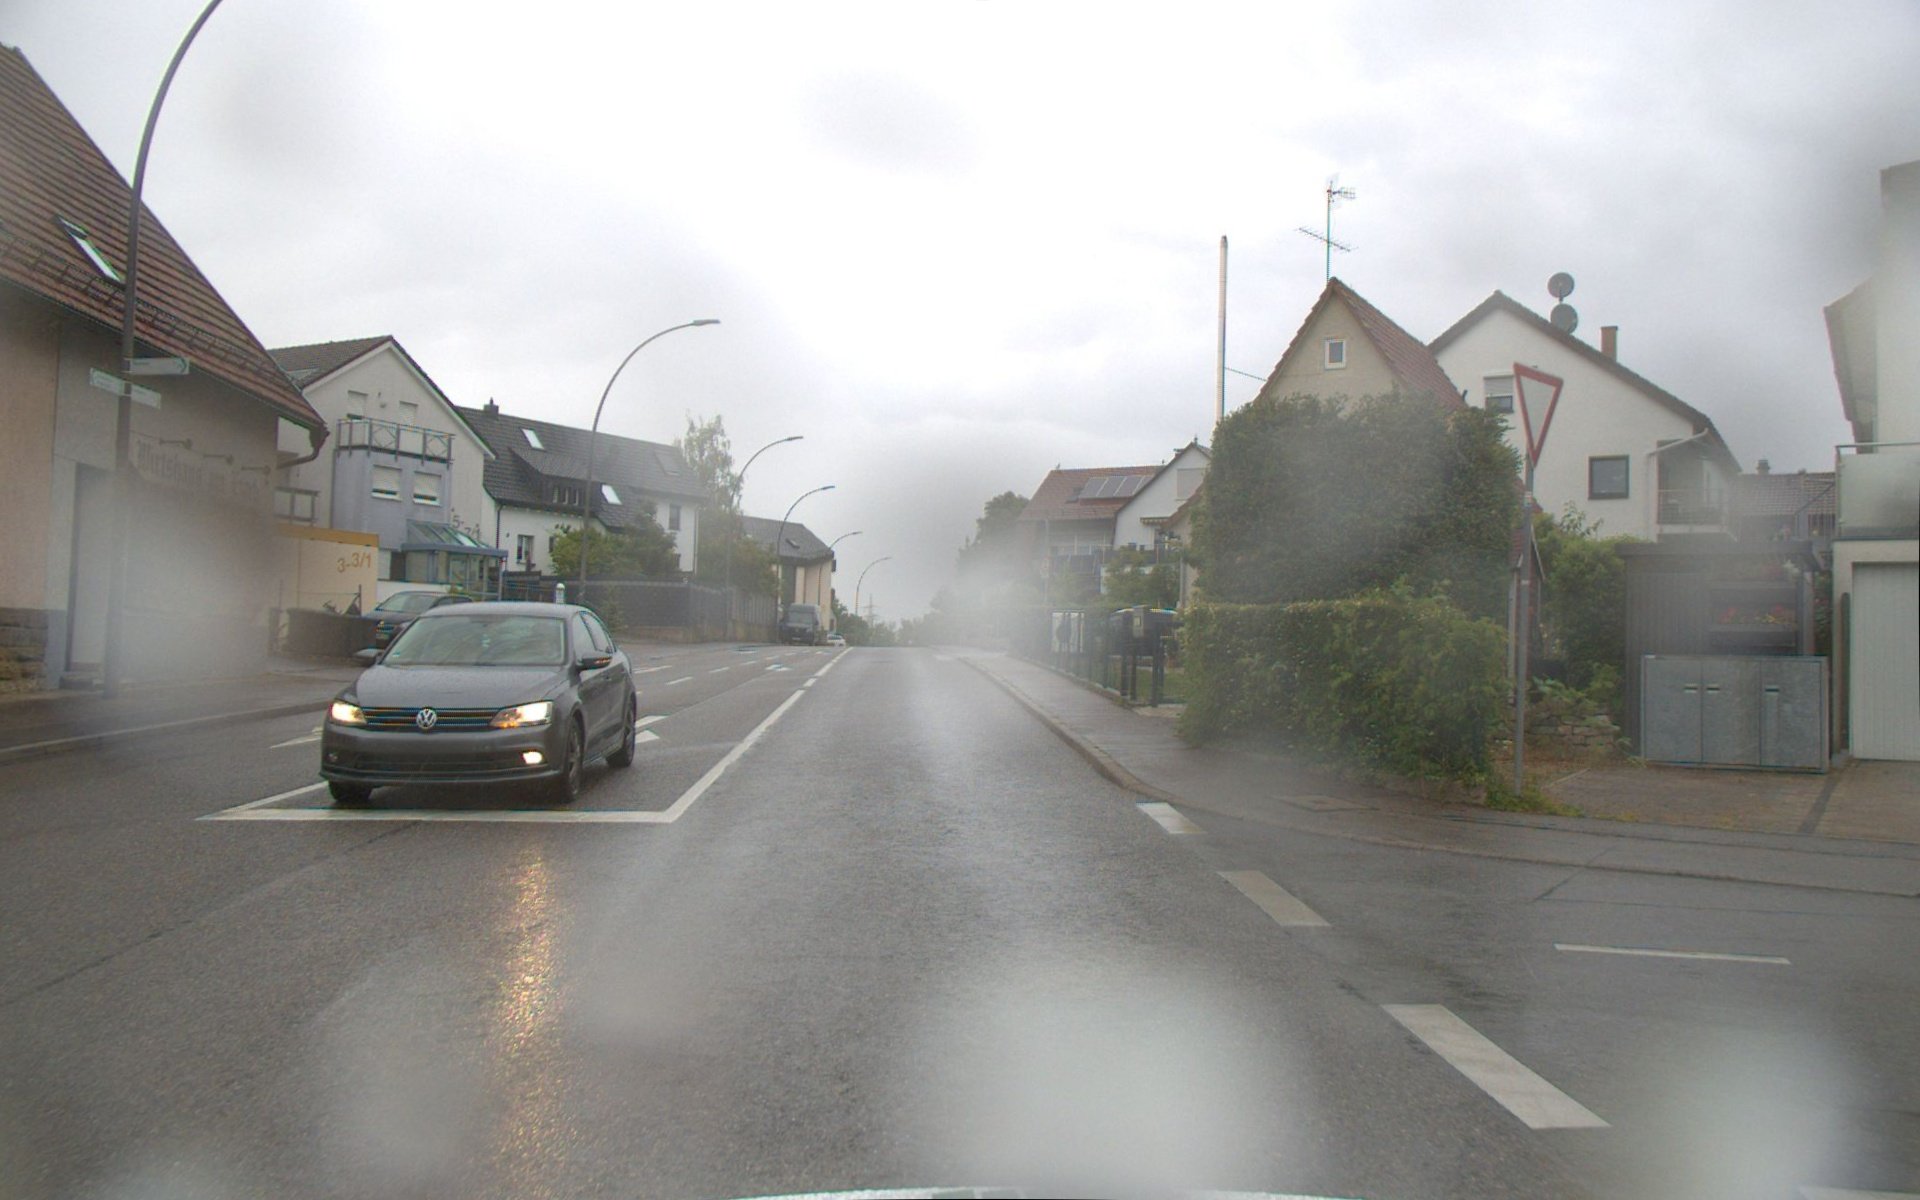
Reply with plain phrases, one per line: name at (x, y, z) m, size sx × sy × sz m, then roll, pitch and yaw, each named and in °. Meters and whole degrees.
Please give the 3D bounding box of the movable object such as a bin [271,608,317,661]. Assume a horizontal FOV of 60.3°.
movable object such as a bin at (-13.846, 0.709, 34.389) m, size 0.624 × 1.050 × 0.605 m, roll 2°, pitch 0°, yaw 11°

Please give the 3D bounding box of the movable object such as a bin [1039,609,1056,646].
movable object such as a bin at (2.487, 0.792, 47.075) m, size 0.433 × 1.039 × 0.525 m, roll -1°, pitch -1°, yaw 7°

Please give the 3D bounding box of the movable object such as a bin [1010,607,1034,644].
movable object such as a bin at (1.779, 0.734, 47.235) m, size 0.518 × 1.039 × 0.733 m, roll -1°, pitch -1°, yaw 16°

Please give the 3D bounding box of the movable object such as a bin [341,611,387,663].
movable object such as a bin at (-12.171, 0.751, 33.762) m, size 0.624 × 1.050 × 0.674 m, roll -1°, pitch -1°, yaw 11°

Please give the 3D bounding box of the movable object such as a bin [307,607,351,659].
movable object such as a bin at (-12.921, 0.678, 33.886) m, size 0.624 × 1.050 × 0.605 m, roll -1°, pitch -1°, yaw 11°

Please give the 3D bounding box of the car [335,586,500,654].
car at (-12.867, 0.458, 39.471) m, size 1.861 × 1.467 × 3.831 m, roll 3°, pitch 0°, yaw 16°

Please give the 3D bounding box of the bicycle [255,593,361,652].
bicycle at (-14.353, 0.496, 36.436) m, size 2.053 × 1.133 × 0.738 m, roll 4°, pitch -2°, yaw 14°

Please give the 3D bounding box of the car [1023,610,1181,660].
car at (4.314, 1.044, 50.101) m, size 4.460 × 1.408 × 2.002 m, roll -1°, pitch 1°, yaw 15°

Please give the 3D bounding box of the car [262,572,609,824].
car at (-3.808, 0.621, 12.752) m, size 1.908 × 1.601 × 4.217 m, roll 0°, pitch 0°, yaw -9°

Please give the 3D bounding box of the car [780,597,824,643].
car at (-9.896, 1.312, 104.179) m, size 2.051 × 2.696 × 5.918 m, roll 2°, pitch -2°, yaw 1°
